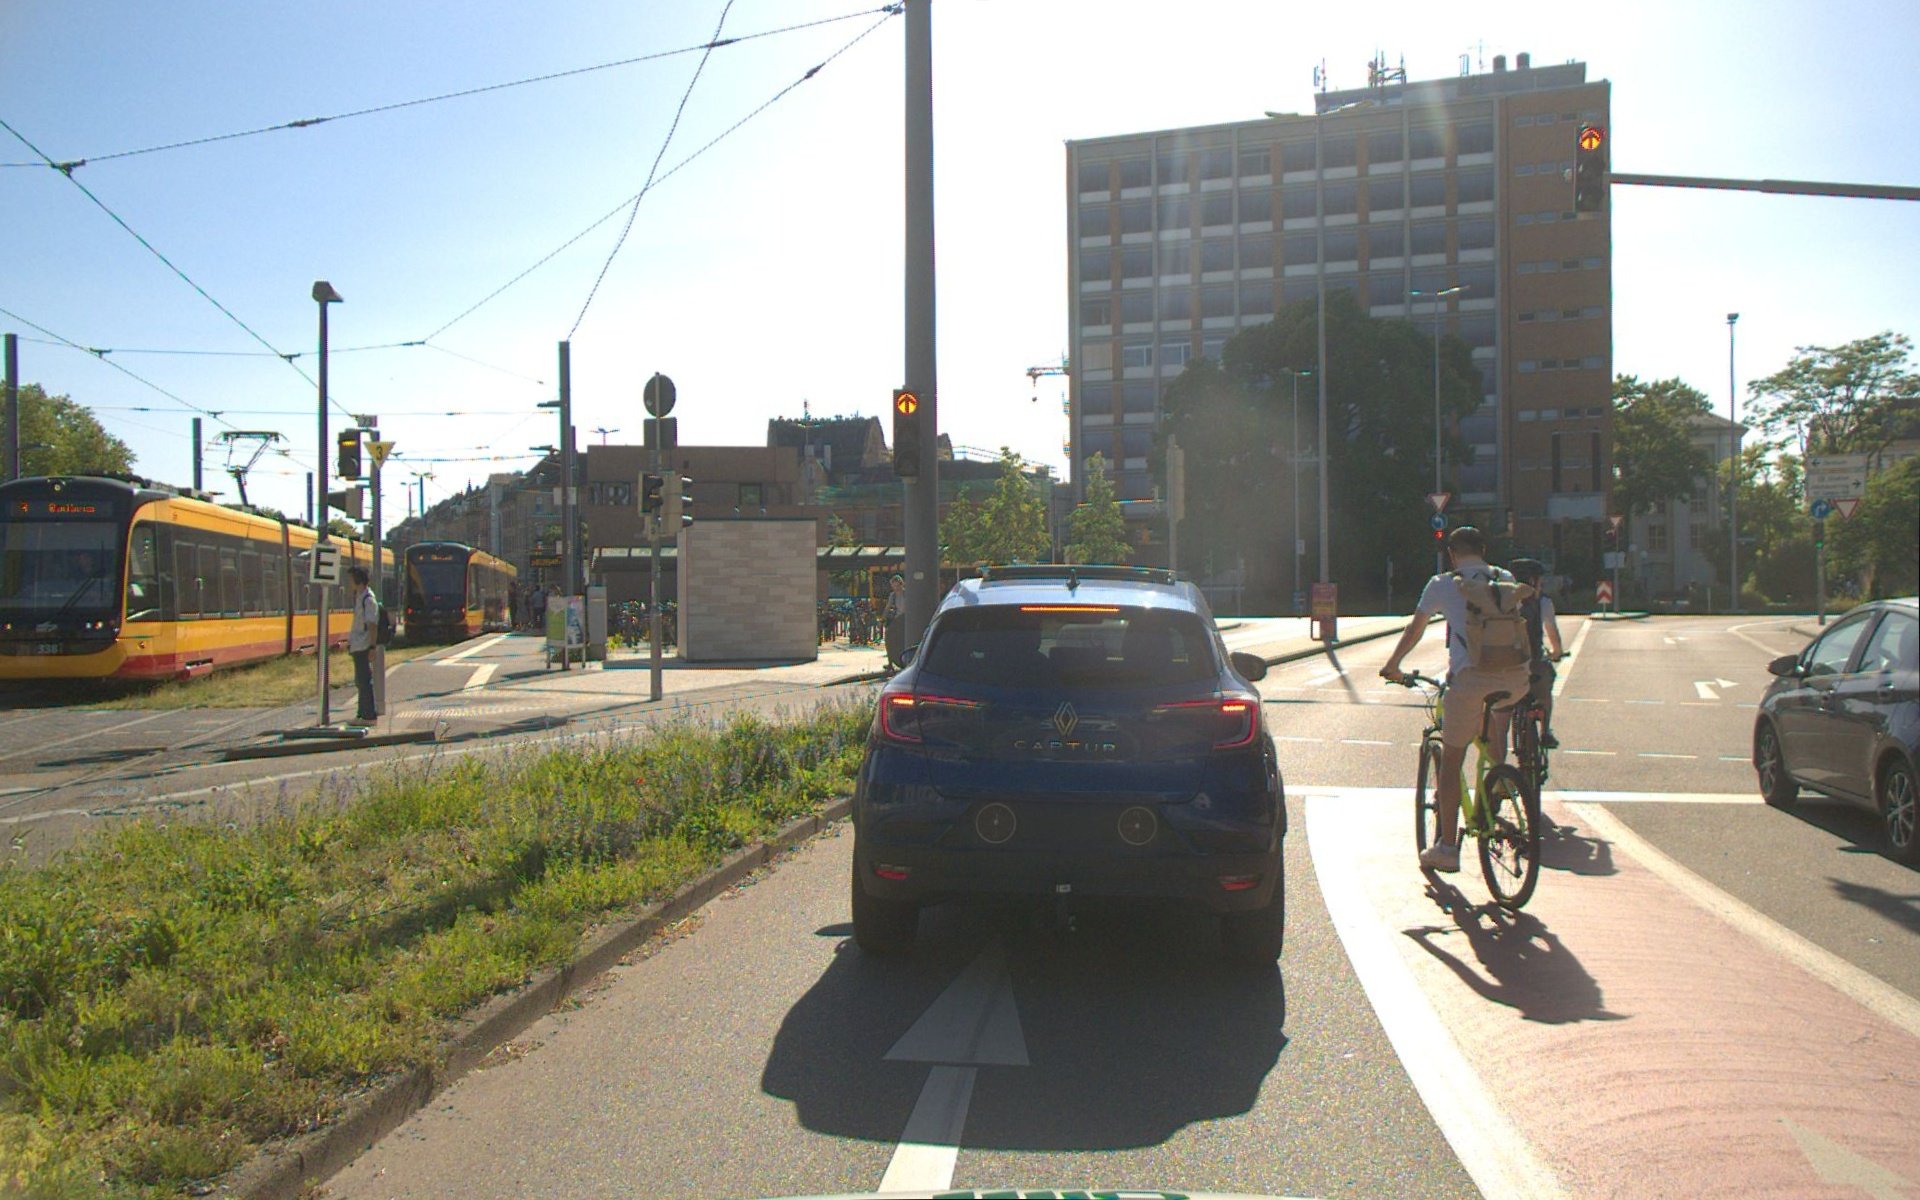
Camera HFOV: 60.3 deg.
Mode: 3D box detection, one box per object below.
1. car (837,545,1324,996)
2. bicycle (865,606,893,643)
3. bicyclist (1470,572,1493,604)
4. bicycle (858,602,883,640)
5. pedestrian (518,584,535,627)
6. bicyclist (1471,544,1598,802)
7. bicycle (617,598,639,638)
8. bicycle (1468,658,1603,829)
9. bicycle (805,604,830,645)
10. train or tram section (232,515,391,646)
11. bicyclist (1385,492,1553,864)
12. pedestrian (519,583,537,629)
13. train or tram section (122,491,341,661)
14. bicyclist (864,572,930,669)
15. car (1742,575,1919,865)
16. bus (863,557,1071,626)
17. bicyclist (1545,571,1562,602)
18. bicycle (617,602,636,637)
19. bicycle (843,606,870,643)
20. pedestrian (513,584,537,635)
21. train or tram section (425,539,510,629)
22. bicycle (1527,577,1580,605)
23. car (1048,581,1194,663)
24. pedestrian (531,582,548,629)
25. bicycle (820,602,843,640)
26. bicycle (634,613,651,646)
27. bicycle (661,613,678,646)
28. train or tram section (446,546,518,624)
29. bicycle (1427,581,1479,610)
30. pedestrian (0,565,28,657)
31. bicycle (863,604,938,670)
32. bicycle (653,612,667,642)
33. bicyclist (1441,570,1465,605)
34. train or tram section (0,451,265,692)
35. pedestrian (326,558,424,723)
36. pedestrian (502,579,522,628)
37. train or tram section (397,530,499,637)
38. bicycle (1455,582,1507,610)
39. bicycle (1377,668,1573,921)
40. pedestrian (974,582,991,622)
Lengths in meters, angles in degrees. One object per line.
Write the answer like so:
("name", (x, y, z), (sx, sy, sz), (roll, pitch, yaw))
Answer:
("car", (0.629, 0.611, 7.964), (1.784, 1.628, 3.661), (1, 0, 6))
("bicycle", (-2.184, 0.666, 44.429), (0.569, 0.978, 2.055), (1, -1, -8))
("bicyclist", (29.845, -0.664, 94.712), (1.134, 1.829, 0.883), (0, -1, 26))
("bicycle", (-2.711, 0.640, 50.077), (0.569, 1.107, 2.055), (1, -1, -8))
("pedestrian", (-19.039, 0.249, 72.671), (0.620, 1.889, 0.701), (1, -1, -8))
("bicyclist", (3.873, 0.463, 11.215), (0.706, 1.654, 1.056), (1, 0, 14))
("bicycle", (-9.474, 0.532, 47.269), (0.555, 1.112, 2.024), (1, -1, -10))
("bicycle", (3.901, 0.929, 11.333), (0.707, 0.976, 1.885), (1, 1, 14))
("bicycle", (-3.787, 0.647, 43.977), (0.569, 1.076, 1.813), (1, -1, -8))
("train or tram section", (-19.573, -0.532, 50.630), (2.767, 3.569, 11.175), (0, 0, -12))
("bicyclist", (2.571, 0.369, 8.442), (0.649, 1.778, 1.006), (0, 0, 7))
("pedestrian", (-18.158, 0.254, 69.527), (0.661, 1.889, 0.701), (1, -1, -8))
("train or tram section", (-17.279, -0.503, 40.055), (2.767, 3.569, 10.577), (0, 0, -12))
("bicyclist", (-1.112, 0.355, 29.215), (0.861, 1.673, 1.061), (-1, -1, 15))
("car", (6.393, 0.638, 10.563), (1.718, 1.568, 3.662), (0, 0, 12))
("bus", (0.199, -0.384, 88.429), (12.218, 3.455, 2.866), (0, -1, 41))
("bicyclist", (33.391, -0.753, 93.035), (0.841, 1.721, 0.883), (0, -1, 26))
("bicycle", (-10.803, 0.627, 53.587), (0.555, 1.112, 2.024), (1, -1, -10))
("bicycle", (-2.785, 0.660, 44.345), (0.569, 0.978, 2.055), (1, -1, -8))
("pedestrian", (-16.486, 0.358, 62.711), (0.833, 1.916, 0.757), (1, -1, -15))
("train or tram section", (-20.944, -0.641, 70.758), (2.822, 3.569, 10.507), (0, 0, -13))
("bicycle", (33.391, -0.487, 93.047), (2.746, 1.568, 0.883), (0, -1, 26))
("car", (3.122, 0.383, 31.328), (1.763, 1.417, 4.094), (-1, 1, 20))
("pedestrian", (-17.224, 0.232, 67.779), (0.622, 1.889, 0.699), (1, -1, -18))
("bicycle", (-3.897, 0.631, 50.014), (0.569, 1.107, 2.055), (1, -1, -8))
("bicycle", (-9.396, 0.864, 48.987), (0.414, 0.954, 1.301), (1, 0, -14))
("bicycle", (-8.666, 0.874, 49.315), (0.414, 0.954, 1.301), (1, 0, -14))
("train or tram section", (-23.285, -0.725, 81.025), (2.822, 3.569, 10.507), (0, 0, -13))
("bicycle", (27.918, -0.245, 93.671), (2.746, 1.568, 0.883), (0, -1, 26))
("pedestrian", (-21.928, 0.251, 37.580), (0.942, 2.049, 0.997), (1, -1, -7))
("bicycle", (-1.038, 0.635, 29.245), (0.757, 1.099, 2.037), (-1, 0, 15))
("bicycle", (-9.794, 0.867, 54.012), (0.414, 0.954, 1.375), (1, 0, -10))
("bicyclist", (27.925, -0.709, 93.664), (1.183, 1.930, 0.883), (0, -1, 26))
("train or tram section", (-14.937, -0.438, 29.777), (2.769, 3.569, 10.441), (-1, 0, -14))
("pedestrian", (-6.817, 0.466, 19.258), (1.003, 1.864, 0.755), (1, -1, -24))
("pedestrian", (-18.334, 0.149, 67.652), (0.727, 1.951, 0.739), (1, -1, -14))
("train or tram section", (-18.573, -0.567, 60.567), (2.822, 3.569, 10.507), (0, 0, -13))
("bicycle", (29.839, -0.214, 94.710), (2.746, 1.568, 0.883), (0, -1, 26))
("bicycle", (2.600, 0.929, 8.539), (0.648, 1.065, 1.892), (0, 0, 7))
("pedestrian", (1.070, 0.107, 79.003), (0.710, 1.889, 0.703), (0, -1, 9))
